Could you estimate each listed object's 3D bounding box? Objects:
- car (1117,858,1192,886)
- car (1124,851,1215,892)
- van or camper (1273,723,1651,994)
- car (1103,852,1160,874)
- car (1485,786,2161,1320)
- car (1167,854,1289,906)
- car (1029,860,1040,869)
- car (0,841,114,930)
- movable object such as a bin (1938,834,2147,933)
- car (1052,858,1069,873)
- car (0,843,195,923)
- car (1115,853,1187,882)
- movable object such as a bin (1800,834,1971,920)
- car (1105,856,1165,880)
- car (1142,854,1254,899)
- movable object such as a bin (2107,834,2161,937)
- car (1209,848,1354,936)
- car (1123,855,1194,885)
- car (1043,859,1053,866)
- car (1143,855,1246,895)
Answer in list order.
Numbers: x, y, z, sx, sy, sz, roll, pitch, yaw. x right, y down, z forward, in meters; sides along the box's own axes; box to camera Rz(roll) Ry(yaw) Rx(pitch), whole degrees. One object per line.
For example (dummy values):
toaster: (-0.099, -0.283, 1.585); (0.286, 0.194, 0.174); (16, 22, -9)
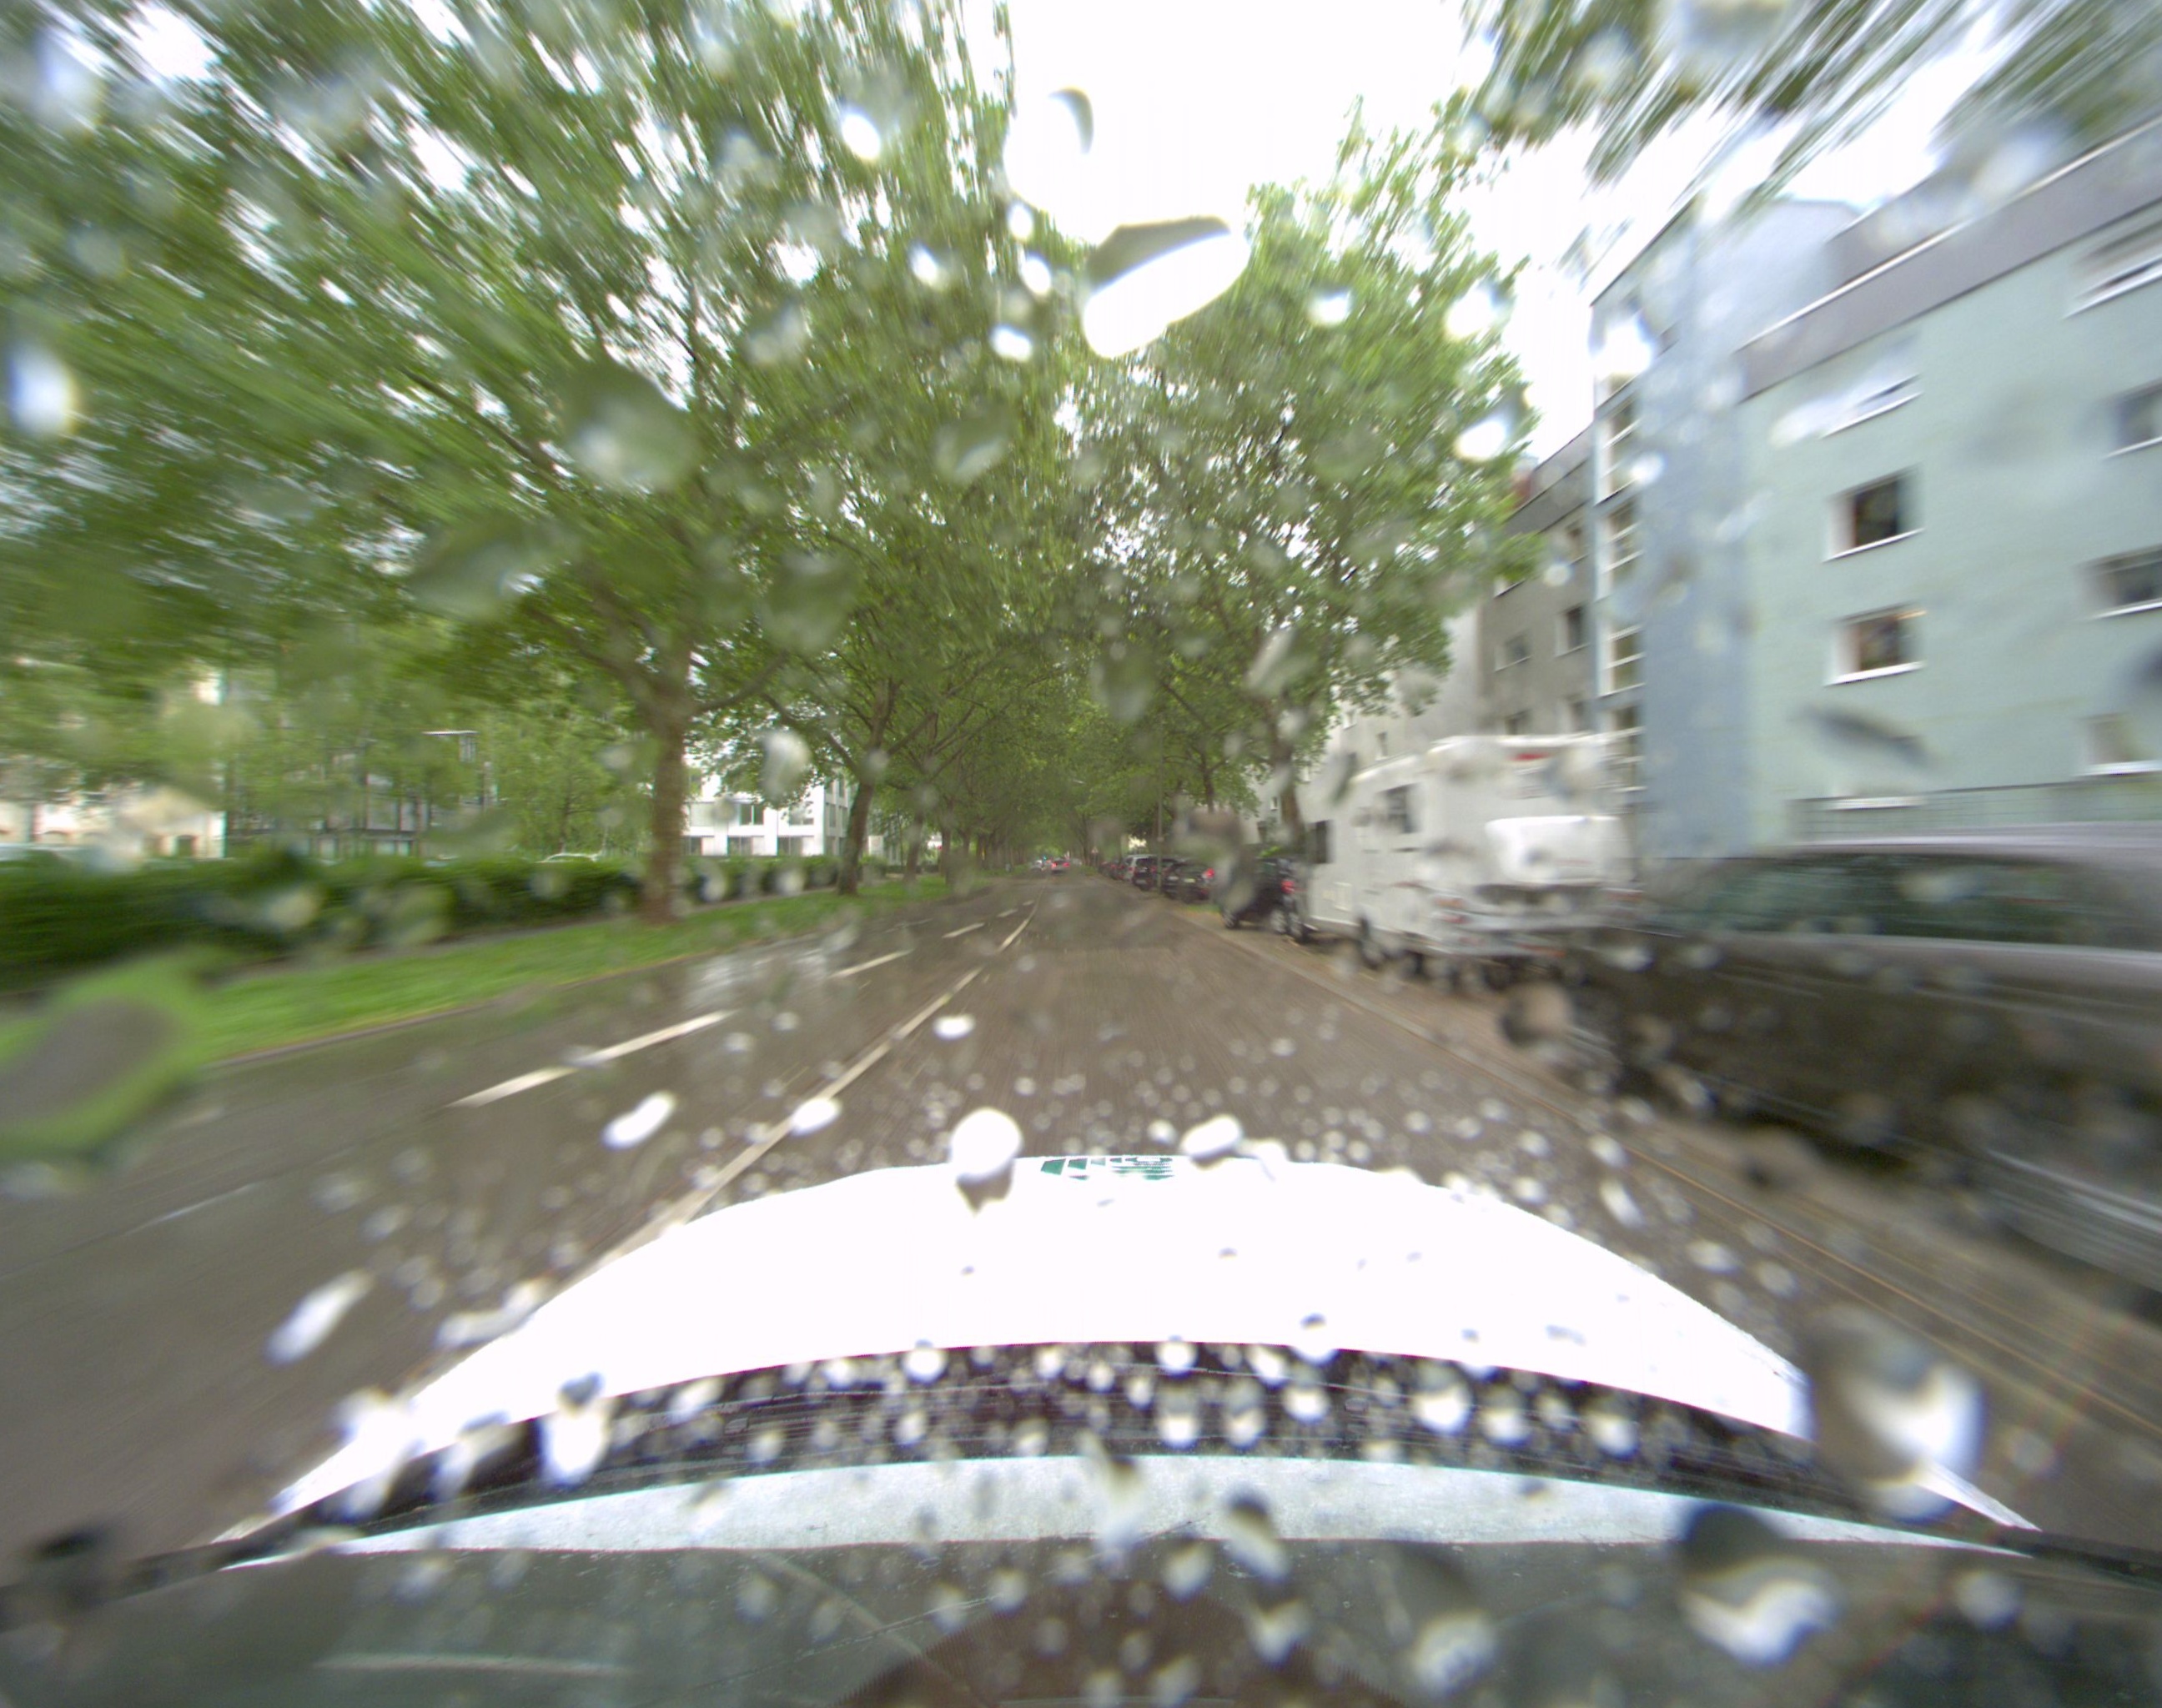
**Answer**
car: (4.058, 0.990, 45.410); (3.979, 1.513, 1.798); (0, 0, -4)
car: (4.163, 0.770, 38.090); (3.879, 1.697, 1.820); (-3, 2, -30)
van or camper: (4.751, 0.054, 11.862); (2.311, 2.807, 6.862); (0, 0, 0)
car: (3.921, 0.659, 63.709); (4.200, 1.655, 1.912); (0, 0, -3)
car: (4.156, 0.646, 4.066); (1.911, 1.620, 4.448); (0, -1, -3)
car: (4.931, 0.823, 27.214); (3.782, 1.601, 1.785); (0, 0, -32)
car: (-7.475, 1.640, 130.845); (1.674, 1.388, 4.546); (-2, 0, -1)
car: (-26.385, 0.751, 19.483); (3.976, 2.013, 1.999); (-1, 0, -2)
movable object such as a bin: (15.141, 0.426, 12.895); (1.216, 1.432, 1.851); (0, 0, -20)
car: (-2.098, 1.187, 83.364); (1.702, 1.411, 3.642); (-2, 0, -2)
car: (-27.045, 0.758, 21.961); (3.976, 2.013, 1.999); (-1, 0, -2)
car: (4.388, 0.859, 51.367); (4.326, 1.762, 1.817); (0, 0, -2)
movable object such as a bin: (14.350, 0.385, 14.591); (1.216, 1.432, 1.851); (0, 0, -20)
car: (3.872, 0.976, 58.380); (4.029, 1.441, 1.682); (-3, 0, -5)
car: (4.473, 0.796, 31.001); (4.014, 1.601, 1.785); (0, 0, -32)
movable object such as a bin: (15.649, 0.443, 11.336); (1.321, 1.432, 1.361); (0, 0, -20)
car: (4.110, 0.717, 17.115); (1.691, 1.652, 2.928); (0, 0, -18)
car: (4.539, 0.911, 47.879); (3.976, 1.727, 1.800); (0, 0, -2)
car: (-6.371, 1.627, 156.937); (1.702, 1.411, 3.642); (-2, 0, -2)
car: (4.894, 0.875, 35.142); (4.011, 1.601, 2.016); (0, 0, -29)
